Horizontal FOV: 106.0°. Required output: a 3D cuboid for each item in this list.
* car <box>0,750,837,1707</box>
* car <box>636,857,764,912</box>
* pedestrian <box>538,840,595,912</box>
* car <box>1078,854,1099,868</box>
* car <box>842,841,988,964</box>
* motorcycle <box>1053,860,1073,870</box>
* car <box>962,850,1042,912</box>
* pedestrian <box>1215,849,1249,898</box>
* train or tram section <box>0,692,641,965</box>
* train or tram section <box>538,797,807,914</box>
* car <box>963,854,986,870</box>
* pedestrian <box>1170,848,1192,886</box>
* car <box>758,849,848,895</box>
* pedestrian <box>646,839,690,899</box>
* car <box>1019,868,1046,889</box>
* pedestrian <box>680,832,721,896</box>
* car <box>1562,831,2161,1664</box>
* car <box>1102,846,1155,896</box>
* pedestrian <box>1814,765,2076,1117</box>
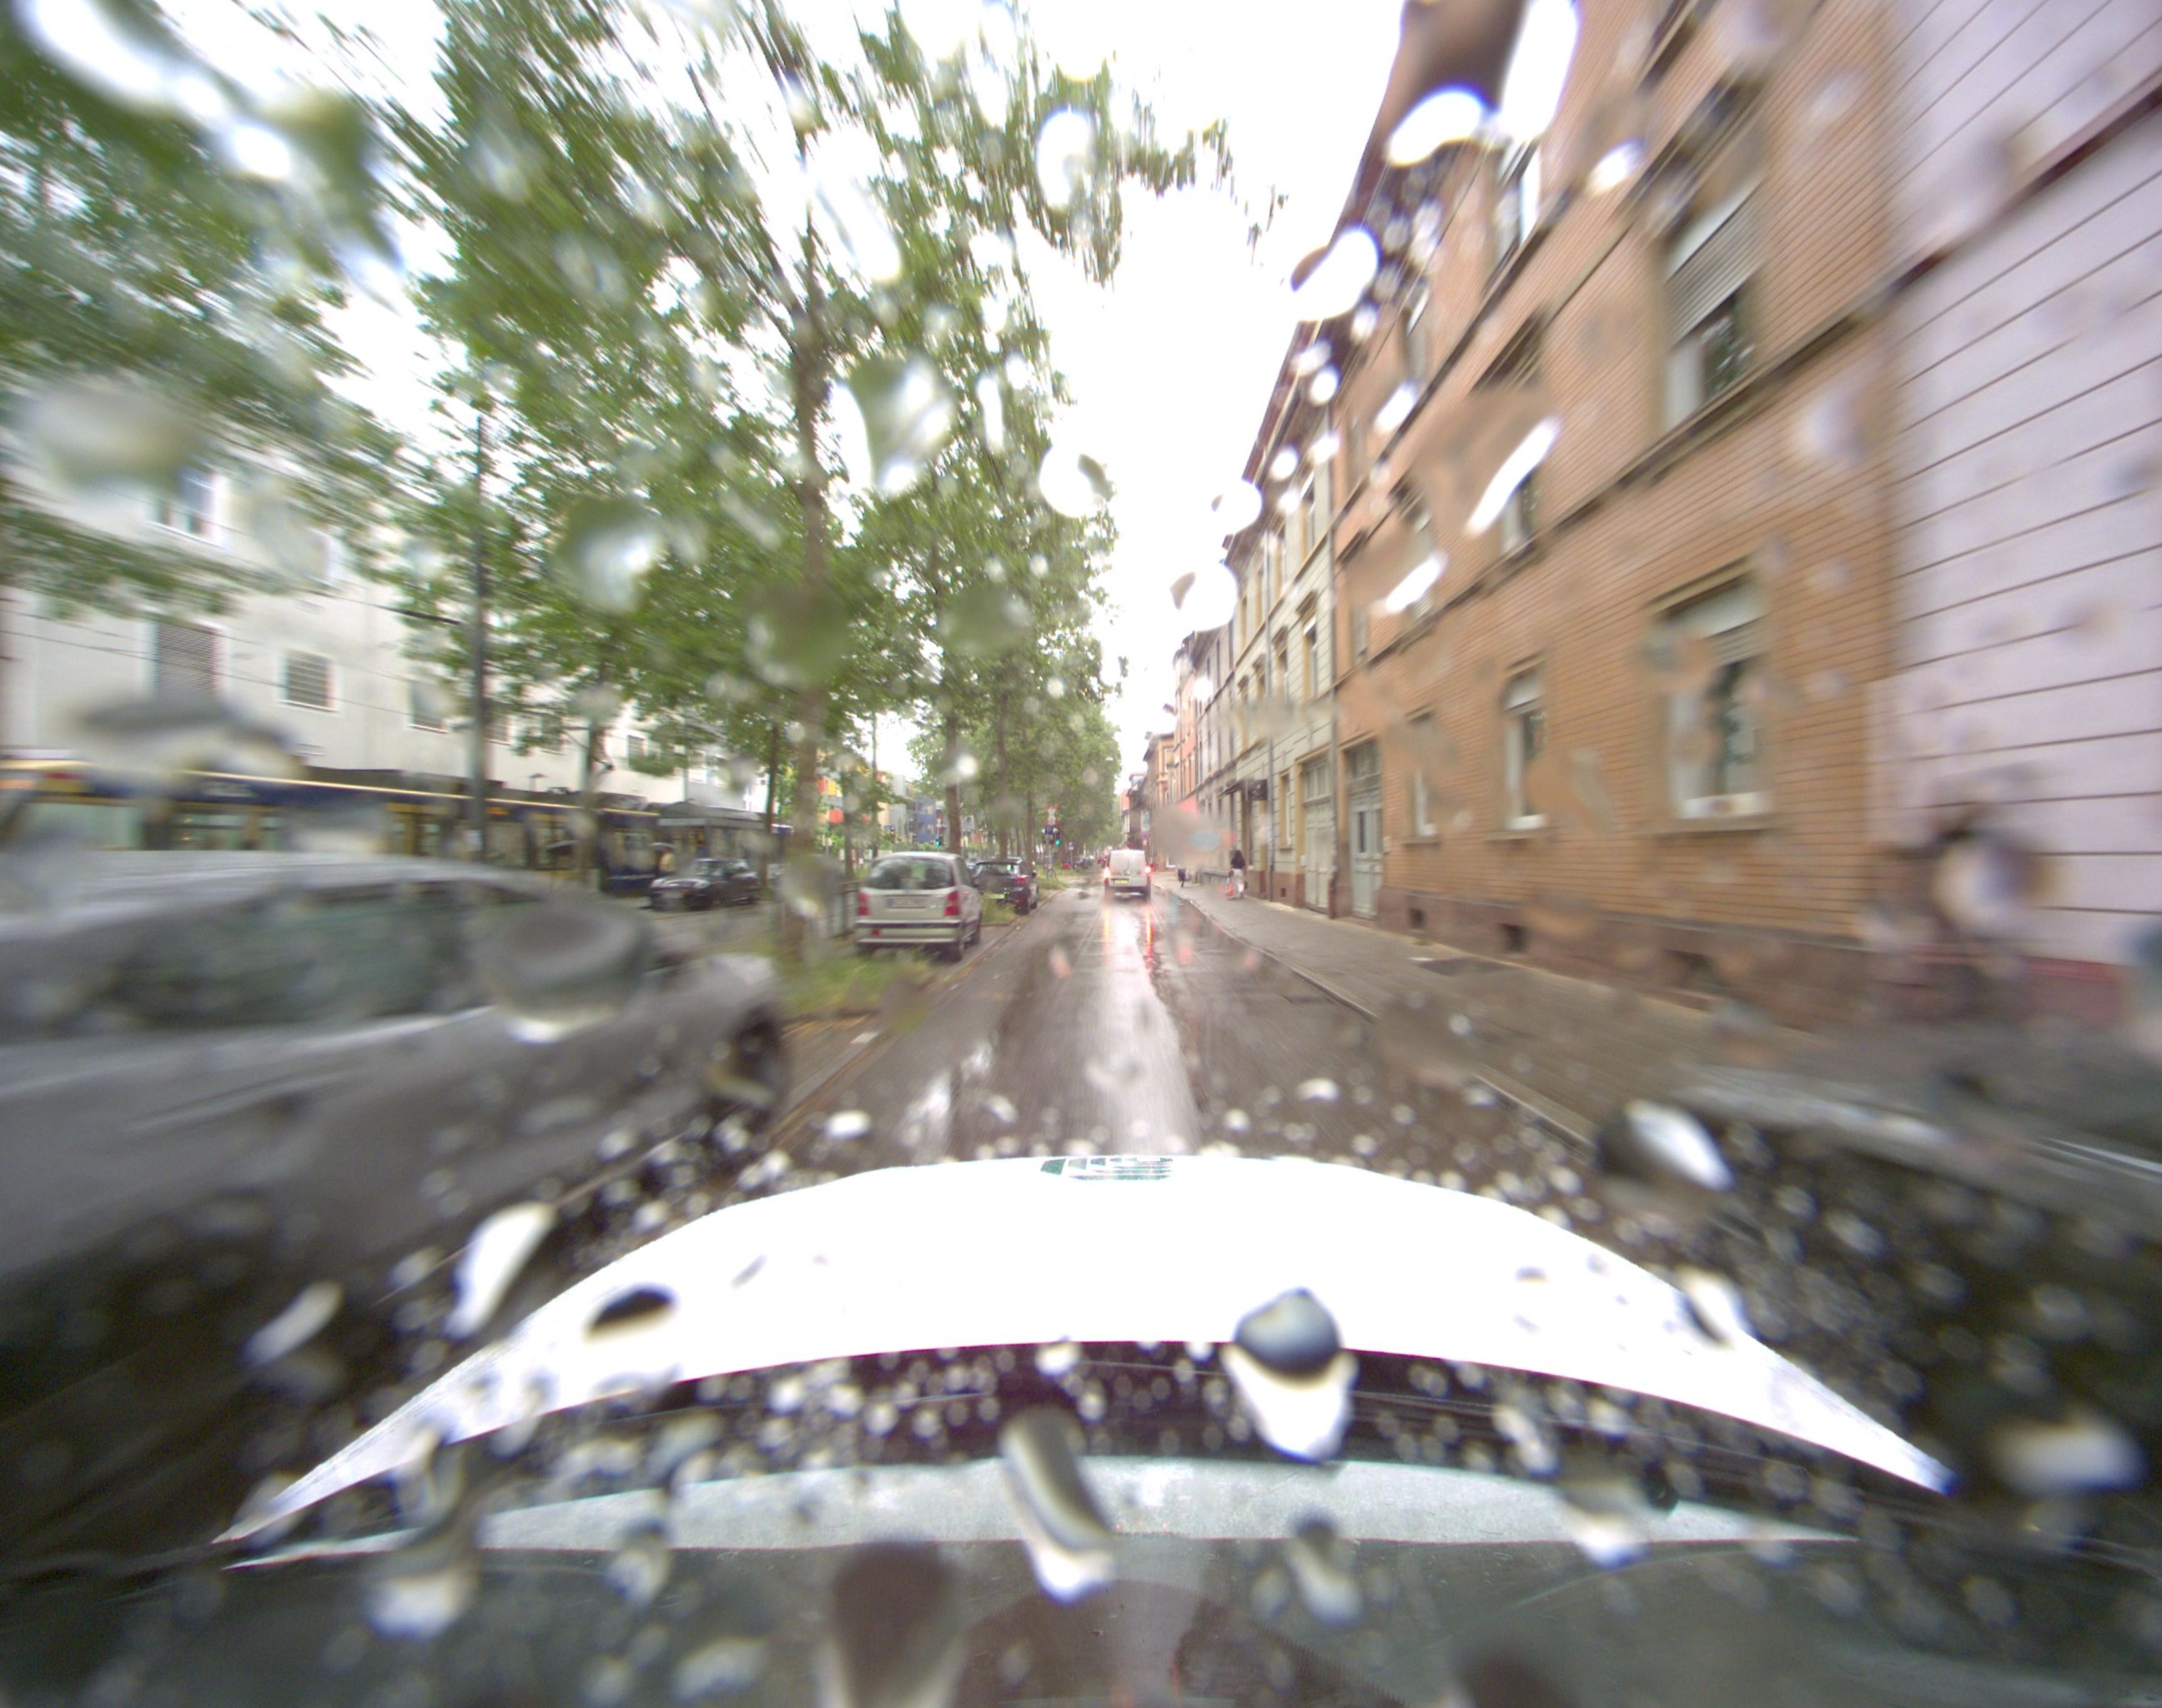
[{"bbox_3d":[-2.524,0.666,3.030,1.691,1.635,4.358,-1,0,3],"label":"car"},{"bbox_3d":[-10.568,0.786,22.916,1.732,1.343,3.756,2,0,1],"label":"car"},{"bbox_3d":[-12.532,0.523,19.850,0.815,1.703,0.872,0,0,0],"label":"pedestrian"},{"bbox_3d":[0.780,0.682,82.835,1.985,1.387,4.003,0,0,3],"label":"car"},{"bbox_3d":[-2.481,0.646,12.959,1.619,1.681,3.658,0,0,-1],"label":"car"},{"bbox_3d":[-1.643,0.988,74.248,1.697,0.865,0.578,0,0,6],"label":"motorcycle"},{"bbox_3d":[-2.065,0.674,22.244,1.643,1.500,4.120,1,0,1],"label":"car"},{"bbox_3d":[4.908,0.606,26.485,0.837,1.511,1.108,-3,0,2],"label":"pedestrian"},{"bbox_3d":[-15.343,-0.121,17.867,3.094,3.559,14.580,-1,-2,2],"label":"train or tram section"},{"bbox_3d":[-15.065,0.240,32.465,3.095,3.559,14.675,-1,-2,1],"label":"train or tram section"},{"bbox_3d":[-9.864,0.709,75.845,1.990,1.415,3.993,0,0,-5],"label":"car"},{"bbox_3d":[4.711,0.604,38.600,0.837,1.716,1.108,-4,0,2],"label":"pedestrian"},{"bbox_3d":[-10.461,0.635,30.920,1.987,1.613,4.000,0,0,1],"label":"car"},{"bbox_3d":[-12.046,0.436,23.759,0.815,1.703,0.872,0,0,0],"label":"pedestrian"},{"bbox_3d":[-4.179,2.097,70.598,1.991,1.613,4.000,0,0,1],"label":"car"},{"bbox_3d":[-12.148,0.325,26.030,0.865,2.013,0.821,0,0,5],"label":"pedestrian"},{"bbox_3d":[2.761,0.684,0.977,1.805,1.420,4.702,-4,-1,4],"label":"car"},{"bbox_3d":[1.817,0.676,31.918,1.896,1.797,4.115,0,-1,2],"label":"car"},{"bbox_3d":[4.494,0.424,4.283,0.636,1.684,0.603,-3,0,0],"label":"pedestrian"}]
